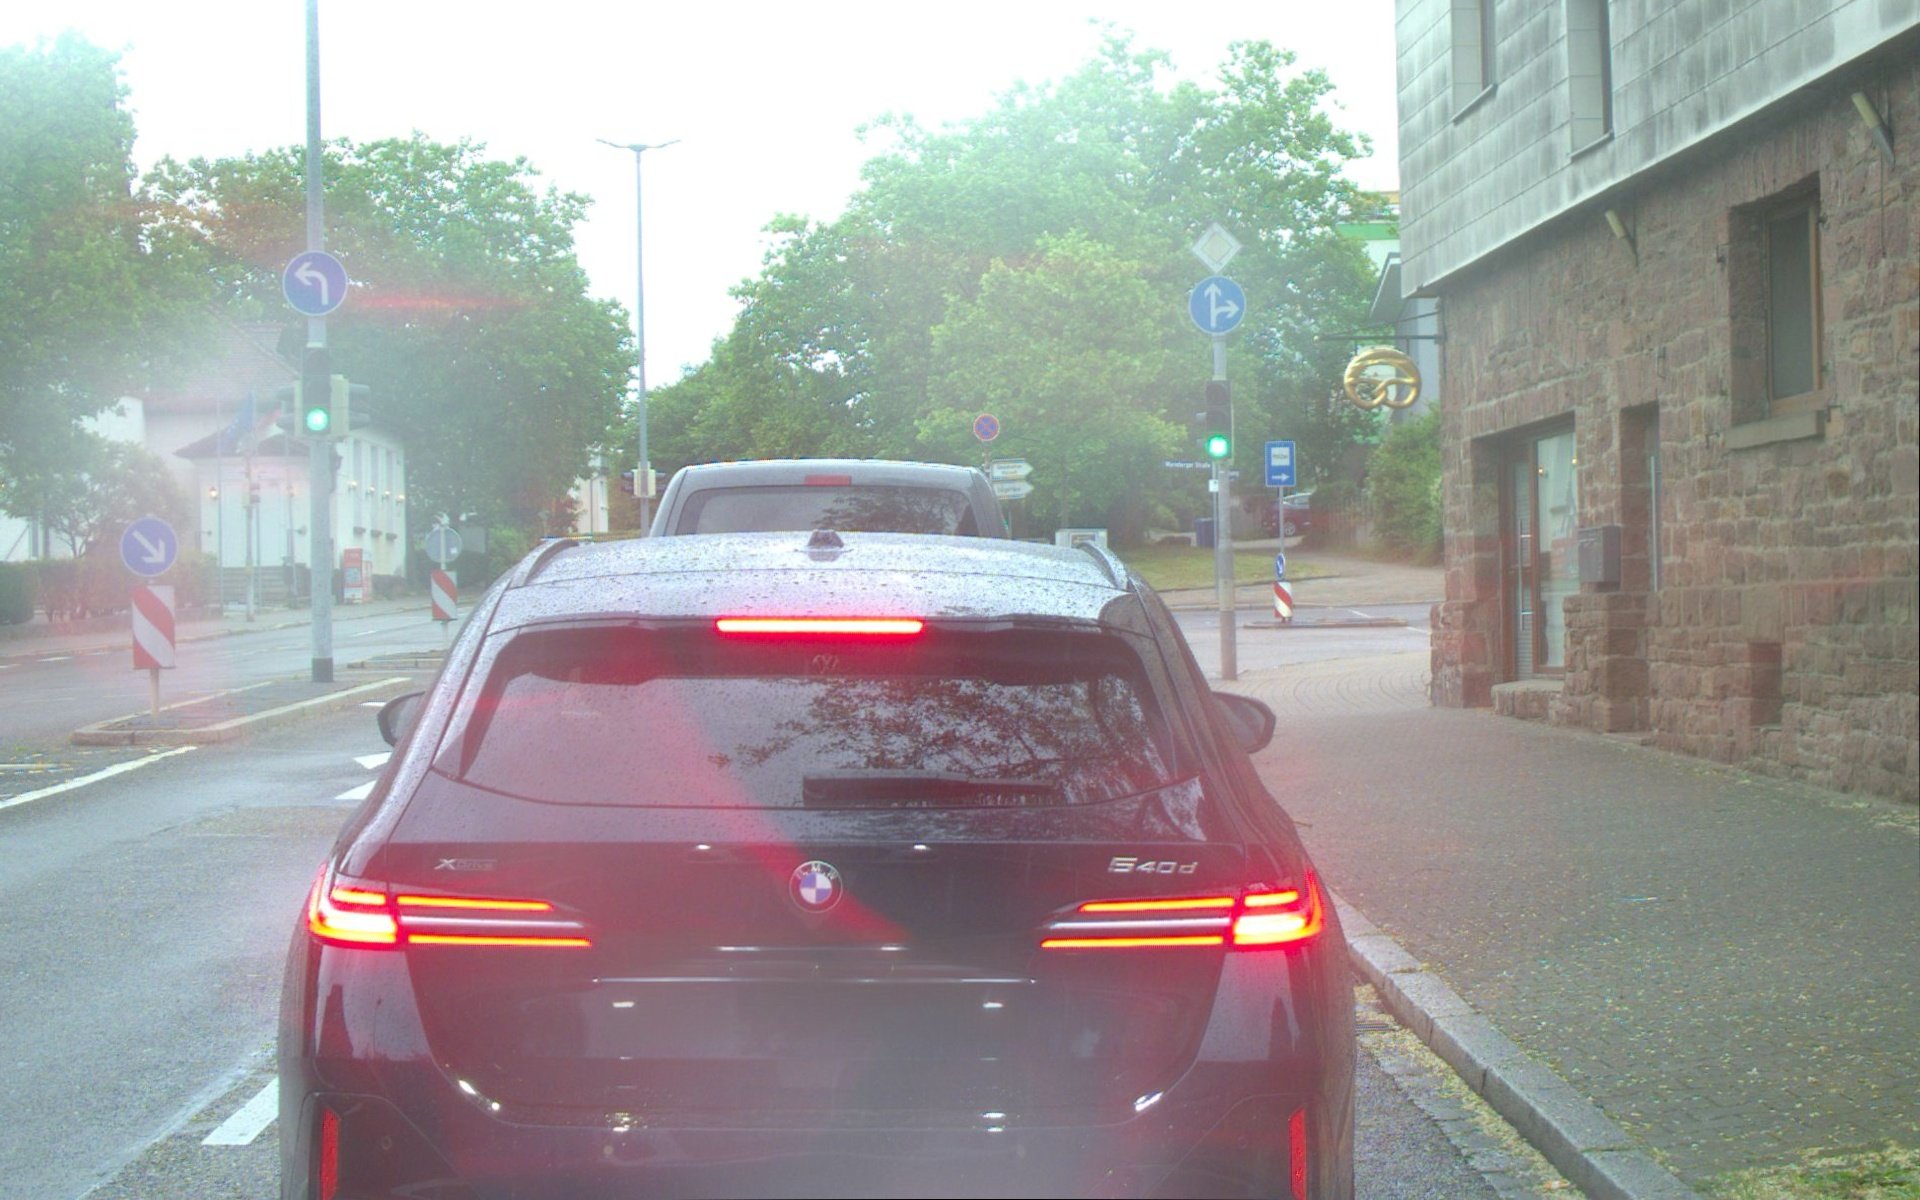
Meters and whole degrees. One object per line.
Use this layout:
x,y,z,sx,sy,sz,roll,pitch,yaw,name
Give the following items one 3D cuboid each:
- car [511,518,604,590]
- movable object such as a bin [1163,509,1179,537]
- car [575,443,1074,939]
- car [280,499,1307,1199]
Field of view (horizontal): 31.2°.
-9.411,-1.108,80.581,1.898,1.572,4.503,-1,2,-4,car
7.067,-2.578,115.275,0.450,0.902,0.462,1,0,15,movable object such as a bin
-0.610,0.320,14.514,1.812,1.802,3.757,1,0,-4,car
-0.356,0.606,6.919,1.523,1.529,3.532,1,0,-4,car
